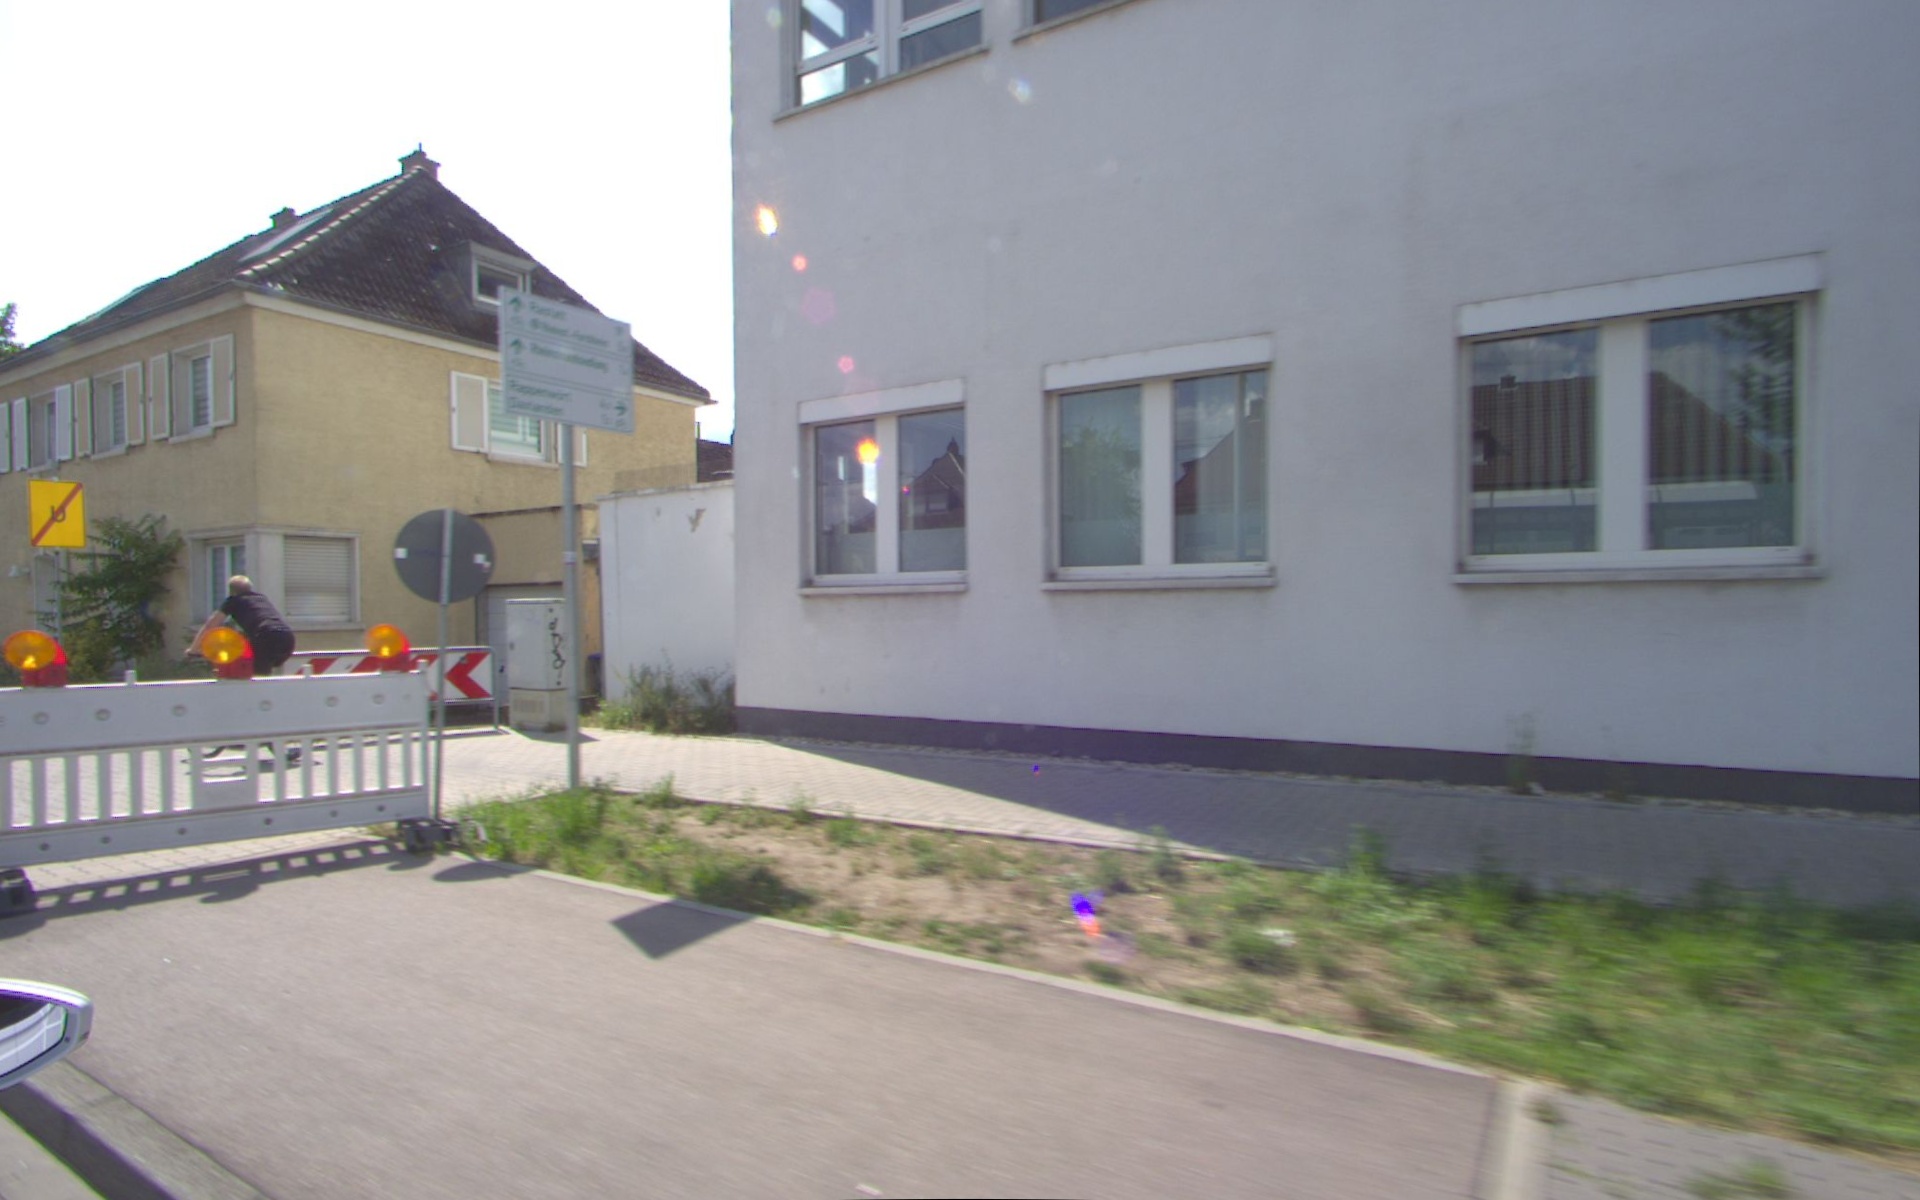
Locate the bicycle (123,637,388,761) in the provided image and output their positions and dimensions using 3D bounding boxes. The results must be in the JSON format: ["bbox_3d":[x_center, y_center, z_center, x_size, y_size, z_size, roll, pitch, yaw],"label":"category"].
[{"bbox_3d":[-6.832,0.939,9.807,1.933,1.090,0.830,-1,1,-5],"label":"bicycle"}]

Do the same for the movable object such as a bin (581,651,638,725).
[{"bbox_3d":[-5.440,1.348,15.542,0.659,1.101,0.611,-1,-2,42],"label":"movable object such as a bin"}]

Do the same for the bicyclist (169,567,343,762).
[{"bbox_3d":[-6.851,0.597,9.803,1.063,1.818,0.830,-1,2,-4],"label":"bicyclist"}]
